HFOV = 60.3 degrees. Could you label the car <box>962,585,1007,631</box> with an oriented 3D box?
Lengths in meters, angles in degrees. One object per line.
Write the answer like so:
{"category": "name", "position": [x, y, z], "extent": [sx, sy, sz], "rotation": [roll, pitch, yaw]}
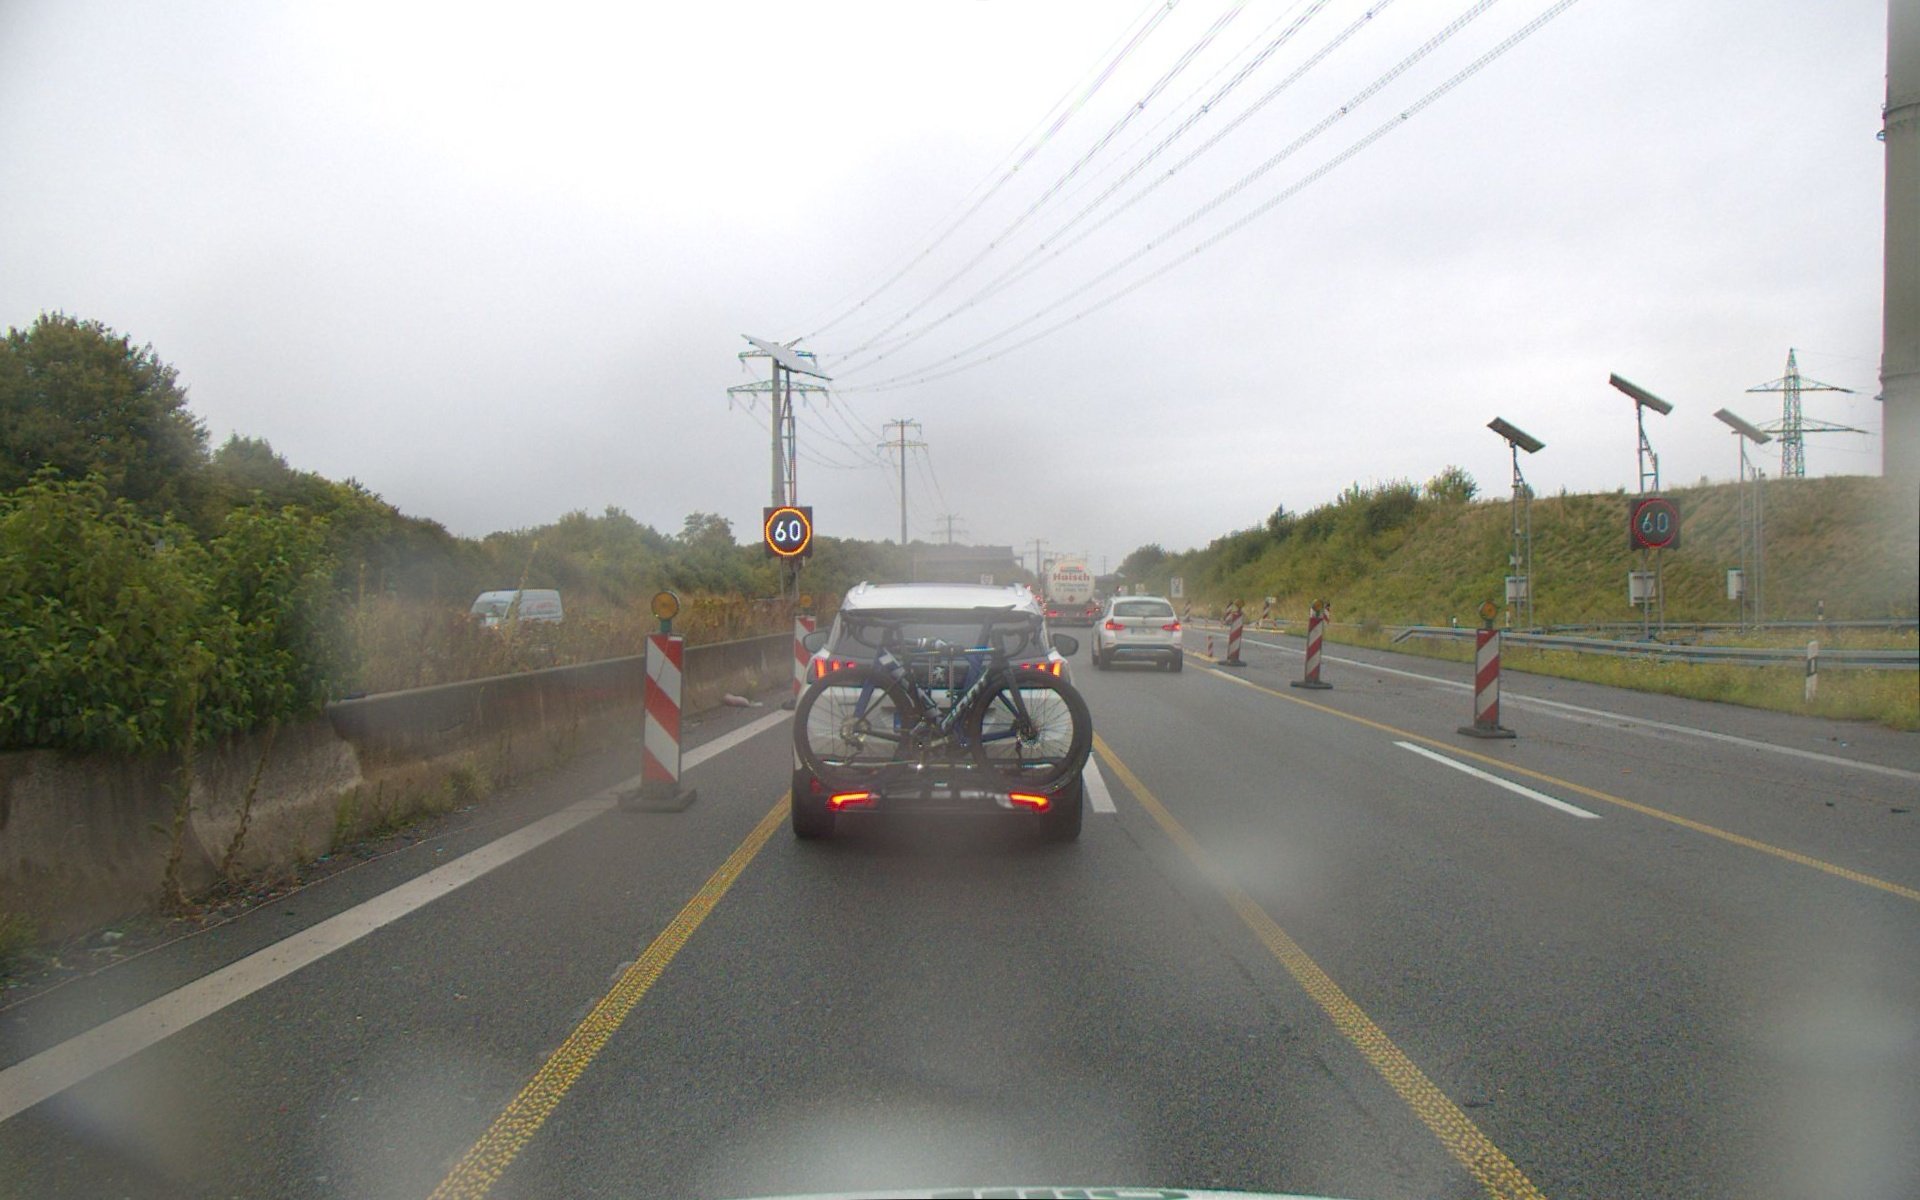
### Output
{"category": "car", "position": [1.133, 0.349, 77.222], "extent": [1.953, 2.049, 3.999], "rotation": [-1, 0, -1]}

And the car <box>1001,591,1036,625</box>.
{"category": "car", "position": [3.618, 0.488, 102.375], "extent": [1.953, 2.049, 3.999], "rotation": [1, -1, -1]}

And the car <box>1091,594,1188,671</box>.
{"category": "car", "position": [3.825, 0.657, 35.762], "extent": [1.831, 1.561, 4.198], "rotation": [0, 0, 3]}

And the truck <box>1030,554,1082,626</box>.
{"category": "truck", "position": [5.411, -0.514, 93.897], "extent": [2.591, 3.959, 4.029], "rotation": [1, -1, -1]}

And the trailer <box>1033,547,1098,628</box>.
{"category": "trailer", "position": [5.475, -0.570, 87.439], "extent": [2.584, 3.961, 10.541], "rotation": [1, -1, -1]}

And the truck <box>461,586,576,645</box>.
{"category": "truck", "position": [-19.825, 0.653, 74.600], "extent": [1.951, 2.470, 6.438], "rotation": [-1, 1, 16]}

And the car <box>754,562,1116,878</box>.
{"category": "car", "position": [-0.068, 0.621, 10.980], "extent": [1.888, 1.639, 4.596], "rotation": [0, 0, 2]}

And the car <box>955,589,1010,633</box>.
{"category": "car", "position": [0.816, 0.395, 62.223], "extent": [1.953, 1.611, 3.999], "rotation": [0, 0, -1]}

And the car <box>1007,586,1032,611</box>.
{"category": "car", "position": [5.016, -0.075, 140.233], "extent": [1.953, 2.049, 3.999], "rotation": [1, -1, -1]}

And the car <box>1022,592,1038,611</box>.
{"category": "car", "position": [7.575, 0.126, 177.974], "extent": [1.619, 2.049, 4.002], "rotation": [0, 0, 3]}
